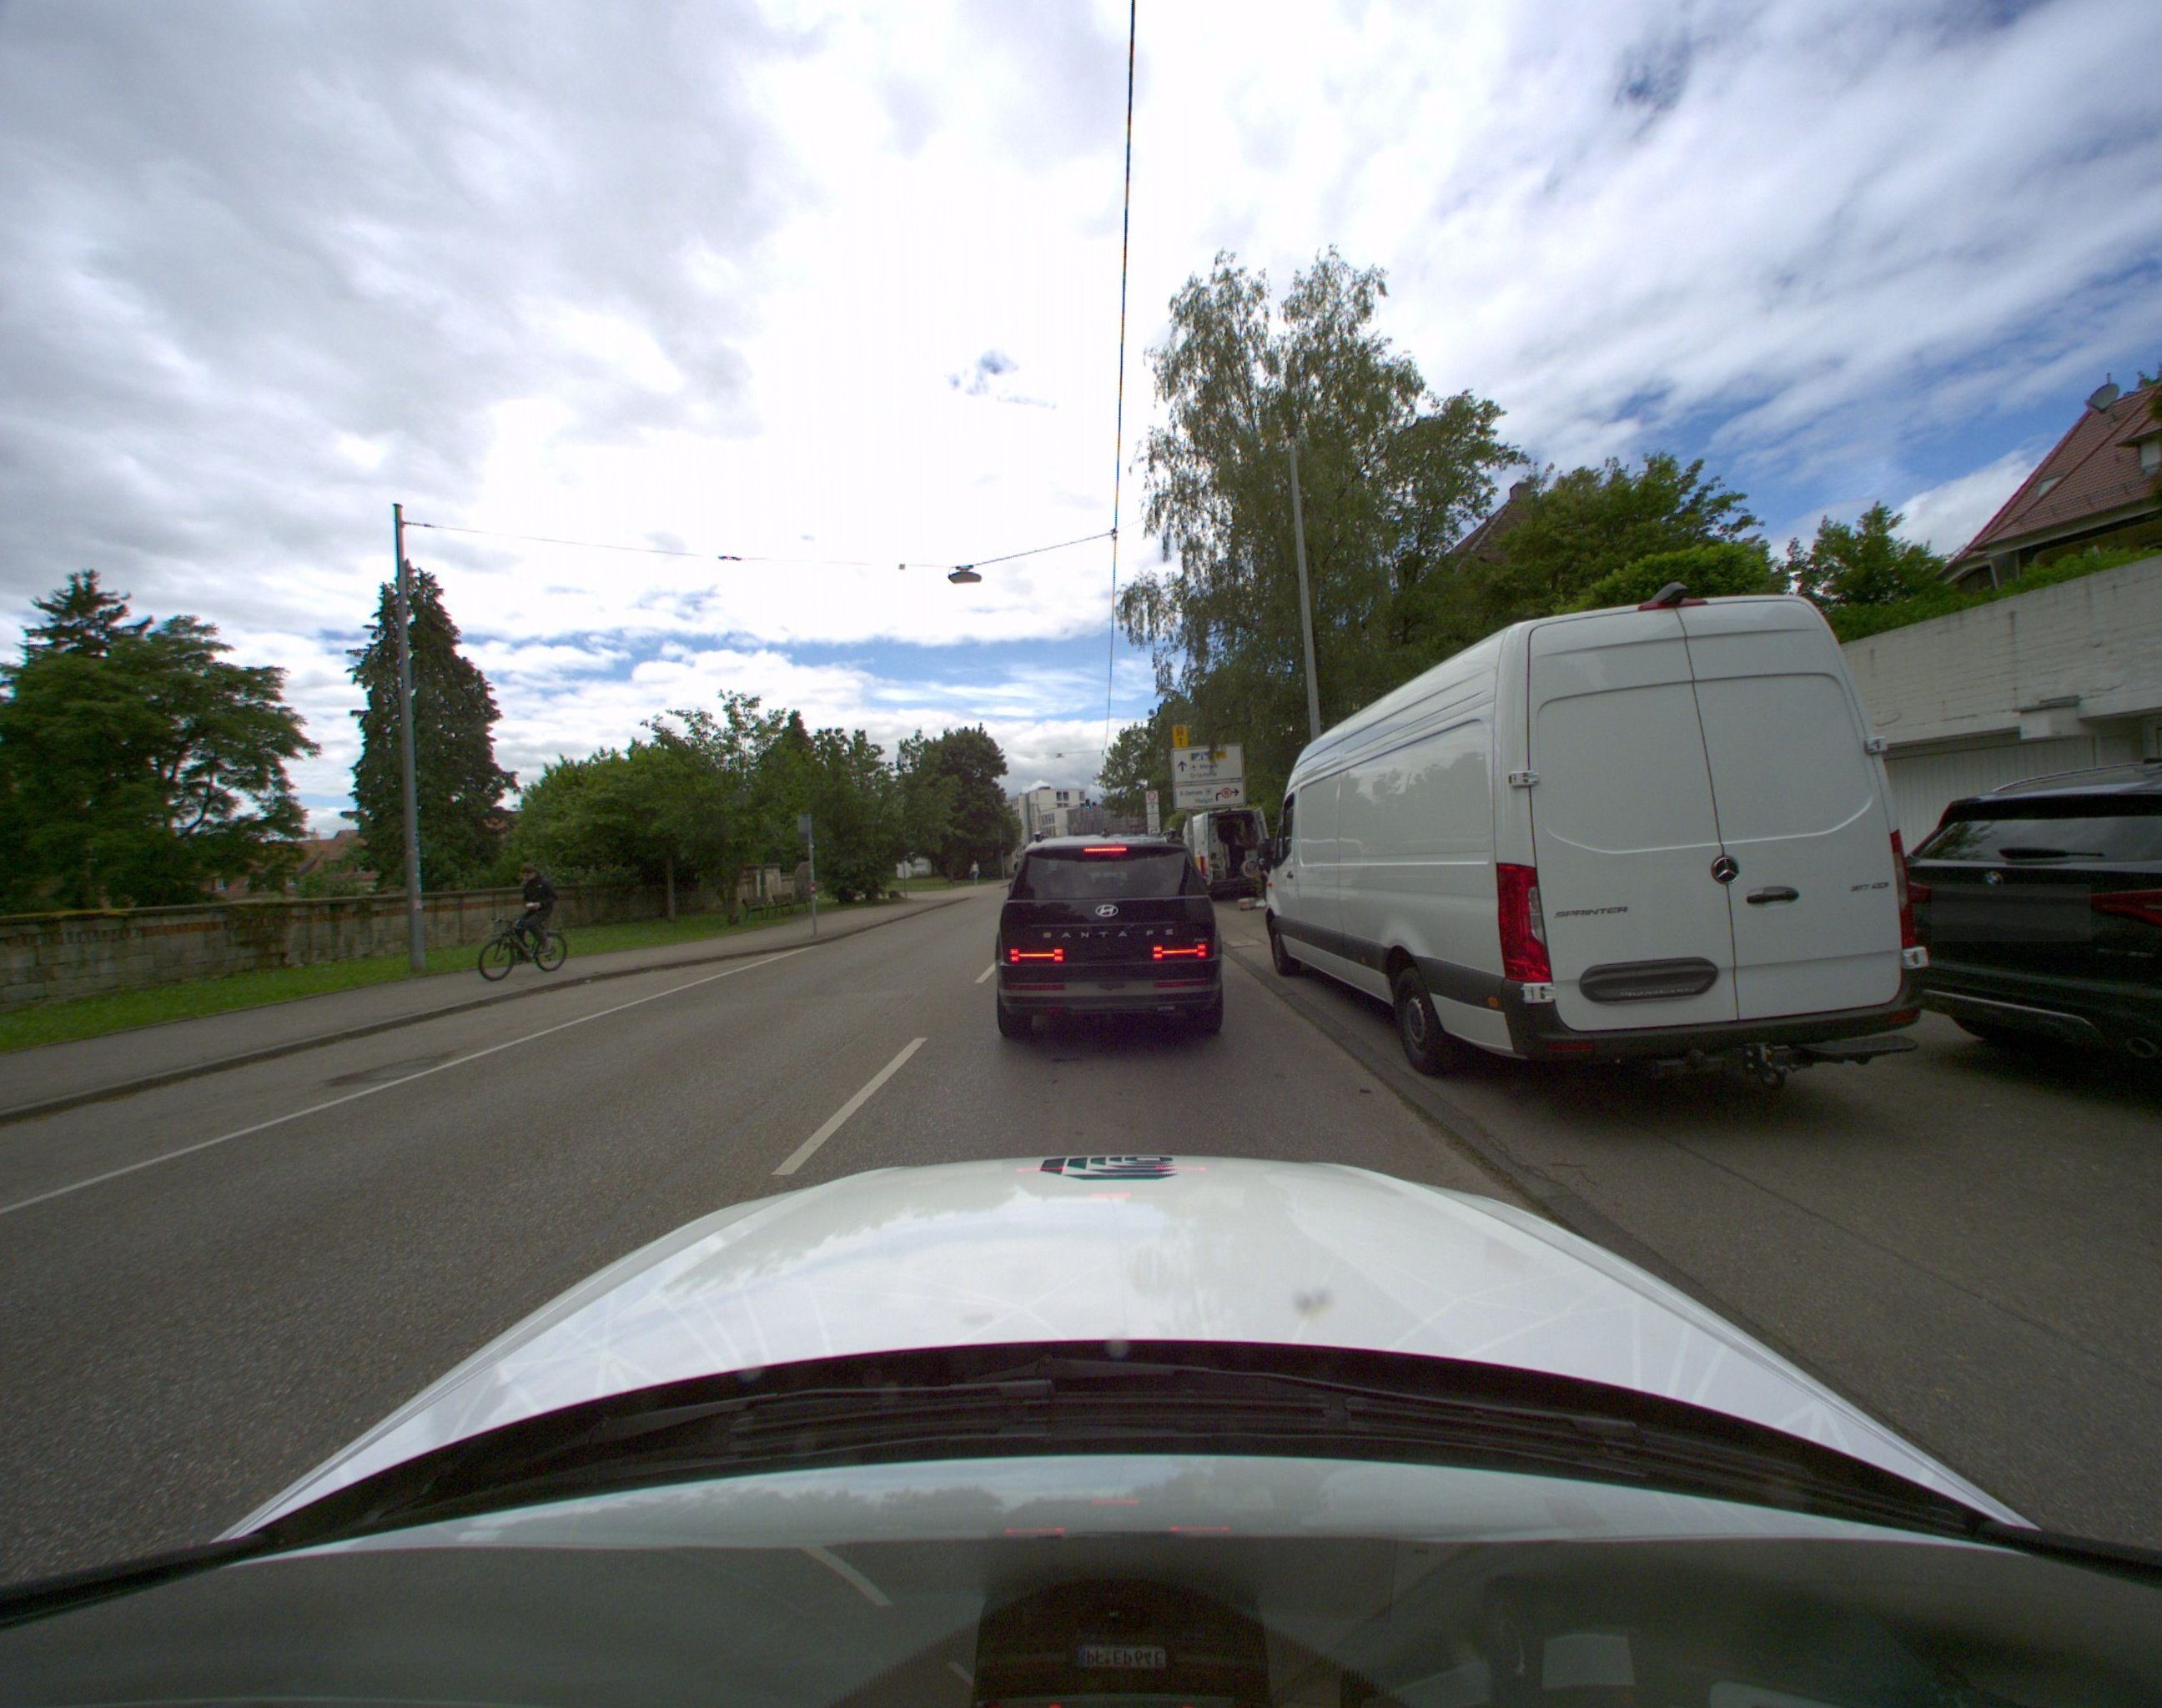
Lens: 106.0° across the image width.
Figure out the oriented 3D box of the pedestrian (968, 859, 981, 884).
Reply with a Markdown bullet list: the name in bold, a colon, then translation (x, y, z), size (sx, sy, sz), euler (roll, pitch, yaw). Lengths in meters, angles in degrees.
- **pedestrian**: translation (-7.564, 1.247, 57.727), size (0.764, 1.748, 0.904), euler (-2, -1, 0)

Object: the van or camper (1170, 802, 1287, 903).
- **van or camper**: translation (4.350, 0.015, 25.322), size (2.332, 2.494, 6.603), euler (-6, -1, 1)

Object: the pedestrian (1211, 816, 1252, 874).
- **pedestrian**: translation (4.401, -0.265, 23.814), size (0.791, 1.643, 0.743), euler (-5, -2, 41)

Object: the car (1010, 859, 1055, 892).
- **car**: translation (-2.387, 1.039, 41.036), size (1.750, 1.403, 4.416), euler (-5, -1, 2)

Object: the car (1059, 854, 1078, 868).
- **car**: translation (-1.381, 0.776, 93.332), size (1.808, 1.419, 4.830), euler (-6, -1, 1)

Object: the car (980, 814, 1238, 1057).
- **car**: translation (0.270, 0.617, 8.002), size (1.890, 1.776, 3.995), euler (0, -1, 2)

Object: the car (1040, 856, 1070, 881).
- **car**: translation (-1.726, 0.982, 55.879), size (1.695, 1.483, 4.001), euler (-5, -1, 2)

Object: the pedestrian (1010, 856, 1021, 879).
- **pedestrian**: translation (-5.892, 1.206, 73.427), size (0.826, 2.014, 1.048), euler (0, -1, 4)

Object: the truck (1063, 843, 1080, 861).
- **truck**: translation (-2.158, -0.312, 186.734), size (3.102, 3.859, 9.606), euler (-3, 0, -4)

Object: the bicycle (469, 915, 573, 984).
- **bicycle**: translation (-9.315, 1.560, 13.632), size (0.493, 0.964, 1.749), euler (0, -1, 2)

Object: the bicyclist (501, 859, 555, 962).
- **bicyclist**: translation (-9.314, 0.936, 13.736), size (0.486, 1.684, 0.588), euler (0, -1, 1)

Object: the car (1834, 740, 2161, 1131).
- **car**: translation (6.796, 0.213, 4.060), size (4.365, 1.675, 1.696), euler (-4, -1, 2)

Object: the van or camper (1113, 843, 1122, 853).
- **van or camper**: translation (7.738, -1.205, 172.594), size (1.791, 1.999, 3.821), euler (0, -1, -2)

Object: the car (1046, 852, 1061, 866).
- **car**: translation (-4.863, 0.819, 144.547), size (2.328, 2.315, 4.950), euler (-3, 0, -4)

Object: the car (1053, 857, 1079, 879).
- **car**: translation (-1.212, 1.193, 69.042), size (1.873, 1.644, 4.129), euler (-6, -1, 1)

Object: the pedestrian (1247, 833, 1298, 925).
- **pedestrian**: translation (3.678, 0.468, 15.676), size (0.787, 1.721, 0.752), euler (0, -1, -1)

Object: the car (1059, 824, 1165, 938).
- **car**: translation (0.628, 0.495, 16.628), size (1.890, 2.042, 3.995), euler (0, -1, 2)

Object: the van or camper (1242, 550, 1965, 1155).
- **van or camper**: translation (3.069, 0.016, 7.065), size (1.984, 2.625, 6.546), euler (-6, -1, 2)
